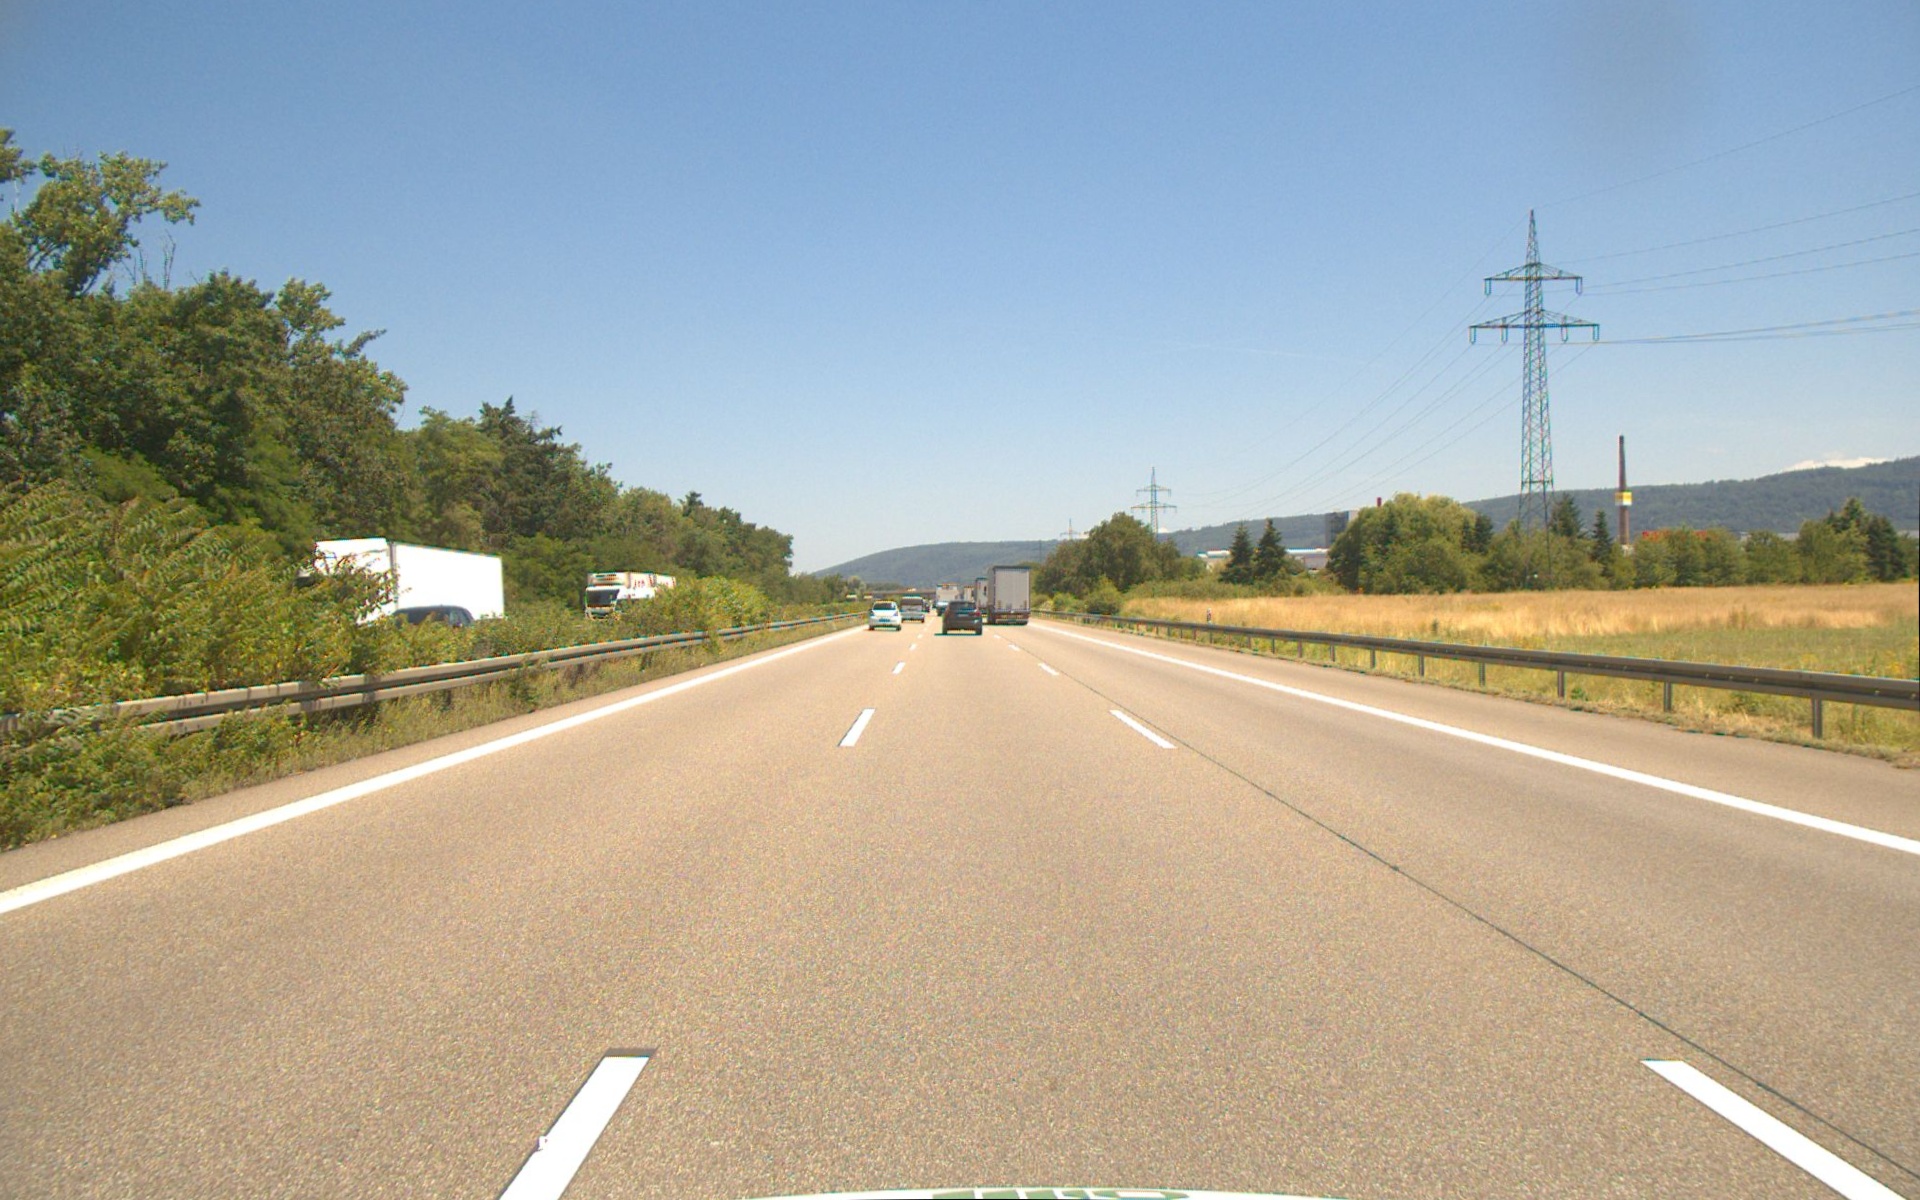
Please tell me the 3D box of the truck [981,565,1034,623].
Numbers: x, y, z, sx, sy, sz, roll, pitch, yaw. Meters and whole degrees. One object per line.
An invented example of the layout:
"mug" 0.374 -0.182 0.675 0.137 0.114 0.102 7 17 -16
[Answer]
"truck" 3.306 -0.429 118.731 3.199 3.925 11.629 1 0 -1

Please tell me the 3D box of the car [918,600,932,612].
"car" -4.937 0.847 232.216 1.814 1.661 3.999 1 0 -1

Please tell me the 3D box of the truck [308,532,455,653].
"truck" -20.114 -0.258 57.989 2.611 3.925 7.330 1 0 -1

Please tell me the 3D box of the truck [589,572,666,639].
"truck" -20.684 0.299 103.539 2.641 3.925 11.444 1 0 -1

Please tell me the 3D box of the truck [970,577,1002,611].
"truck" 2.776 -0.650 180.063 3.034 3.535 11.540 1 0 -1

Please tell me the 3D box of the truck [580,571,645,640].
"truck" -20.585 0.326 98.210 2.641 3.925 5.772 1 0 -1

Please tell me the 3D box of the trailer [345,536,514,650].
"trailer" -20.230 -0.288 64.123 2.610 3.925 12.750 1 0 -1

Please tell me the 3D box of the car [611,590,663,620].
"car" -16.133 0.225 82.704 1.750 1.426 4.328 1 0 -1

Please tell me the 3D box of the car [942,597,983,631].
"car" 0.105 0.653 78.290 1.846 1.542 3.999 1 0 -1

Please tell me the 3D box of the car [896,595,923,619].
"car" -3.723 0.496 122.450 1.814 1.661 3.999 1 0 -1

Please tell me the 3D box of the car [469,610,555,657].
"car" -15.017 1.104 55.657 1.750 1.426 4.328 1 0 -1

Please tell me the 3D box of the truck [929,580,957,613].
"truck" -1.941 -0.403 187.985 3.034 3.535 11.540 1 0 -1

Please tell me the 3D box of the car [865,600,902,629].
"car" -4.078 0.768 88.555 1.770 1.494 3.999 1 0 -1
